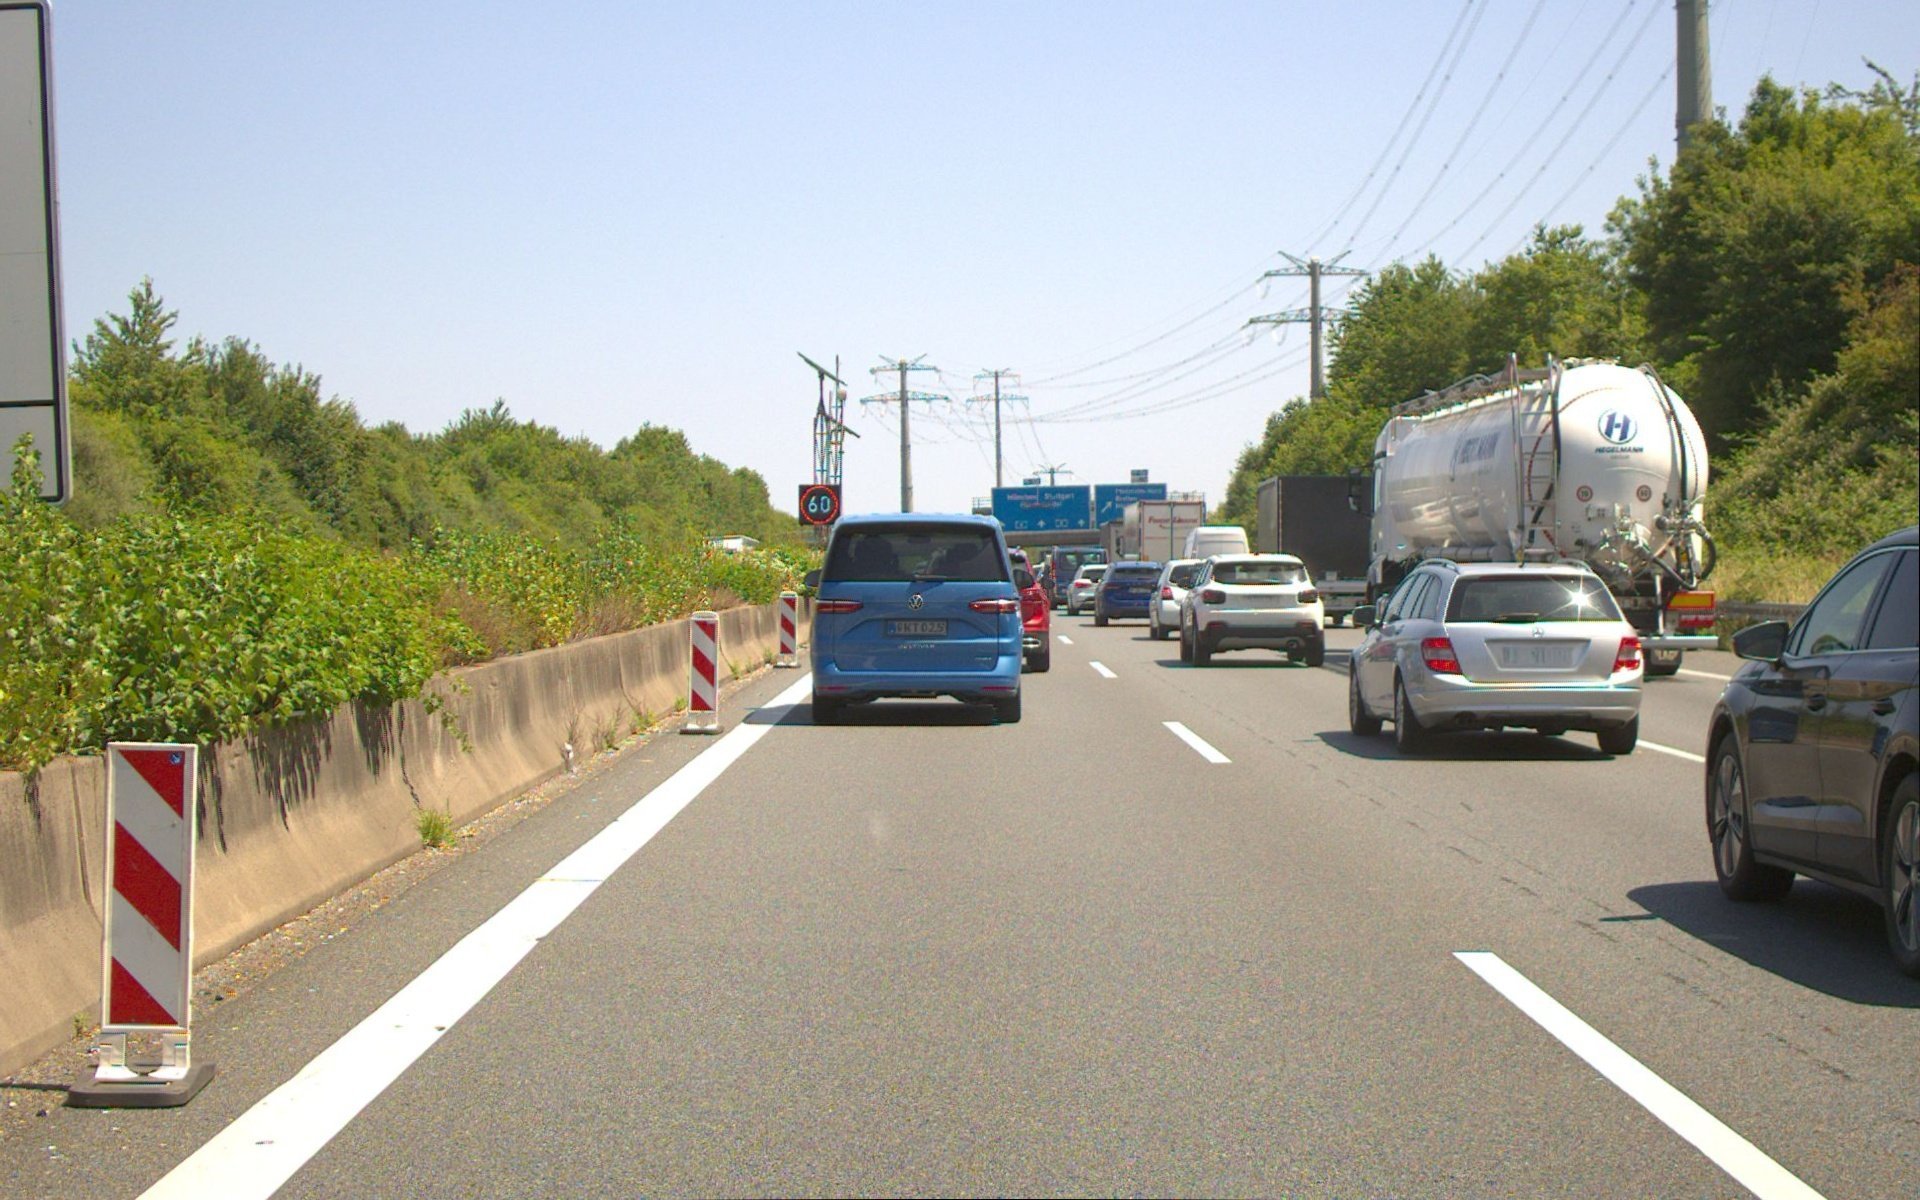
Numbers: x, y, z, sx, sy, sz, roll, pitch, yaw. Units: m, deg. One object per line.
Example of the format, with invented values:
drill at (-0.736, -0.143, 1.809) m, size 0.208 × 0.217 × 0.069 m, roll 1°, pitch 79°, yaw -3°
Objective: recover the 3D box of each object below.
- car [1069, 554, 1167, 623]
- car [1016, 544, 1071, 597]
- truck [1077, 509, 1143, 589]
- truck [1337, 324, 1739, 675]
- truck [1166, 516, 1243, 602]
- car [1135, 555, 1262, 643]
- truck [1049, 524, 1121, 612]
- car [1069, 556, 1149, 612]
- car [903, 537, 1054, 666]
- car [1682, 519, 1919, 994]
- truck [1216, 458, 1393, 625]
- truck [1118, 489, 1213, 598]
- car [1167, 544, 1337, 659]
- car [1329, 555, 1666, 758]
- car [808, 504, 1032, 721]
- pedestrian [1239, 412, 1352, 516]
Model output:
car at (3.581, -0.284, 78.452) m, size 1.908 × 1.511 × 4.384 m, roll 1°, pitch 1°, yaw -1°
car at (3.236, -1.165, 134.041) m, size 1.993 × 2.007 × 4.000 m, roll 1°, pitch 1°, yaw -1°
truck at (8.260, -2.796, 190.950) m, size 2.938 × 4.276 × 12.552 m, roll 1°, pitch 1°, yaw -1°
truck at (7.646, -1.255, 48.330) m, size 2.644 × 4.058 × 16.441 m, roll 1°, pitch 1°, yaw -1°
truck at (7.938, -1.338, 112.004) m, size 1.993 × 2.714 × 5.680 m, roll 1°, pitch 1°, yaw -1°
car at (4.394, -0.043, 63.901) m, size 1.908 × 1.564 × 4.384 m, roll 1°, pitch 1°, yaw -1°
truck at (4.003, -1.032, 110.704) m, size 1.993 × 2.714 × 5.680 m, roll 1°, pitch 1°, yaw -1°
car at (4.124, -0.467, 95.921) m, size 1.908 × 1.511 × 4.384 m, roll 1°, pitch 1°, yaw -1°
car at (0.205, -0.007, 45.629) m, size 1.908 × 1.625 × 4.384 m, roll 0°, pitch 1°, yaw -1°
car at (4.162, 0.513, 13.129) m, size 1.828 × 1.609 × 4.431 m, roll 0°, pitch 1°, yaw 0°
truck at (7.805, -1.311, 79.454) m, size 2.644 × 3.526 × 12.552 m, roll 1°, pitch 1°, yaw -1°
truck at (8.410, -2.305, 142.146) m, size 2.938 × 4.276 × 12.552 m, roll 1°, pitch 1°, yaw -1°
car at (4.014, -0.003, 47.813) m, size 1.908 × 1.503 × 3.922 m, roll 1°, pitch 1°, yaw -1°
car at (4.085, 0.384, 26.814) m, size 1.821 × 1.432 × 4.384 m, roll 1°, pitch 1°, yaw -1°
car at (-0.444, 0.088, 32.129) m, size 1.871 × 1.873 × 4.384 m, roll 1°, pitch 1°, yaw -3°
pedestrian at (6.963, -2.808, 71.672) m, size 1.993 × 2.007 × 4.000 m, roll 1°, pitch 1°, yaw 1°
